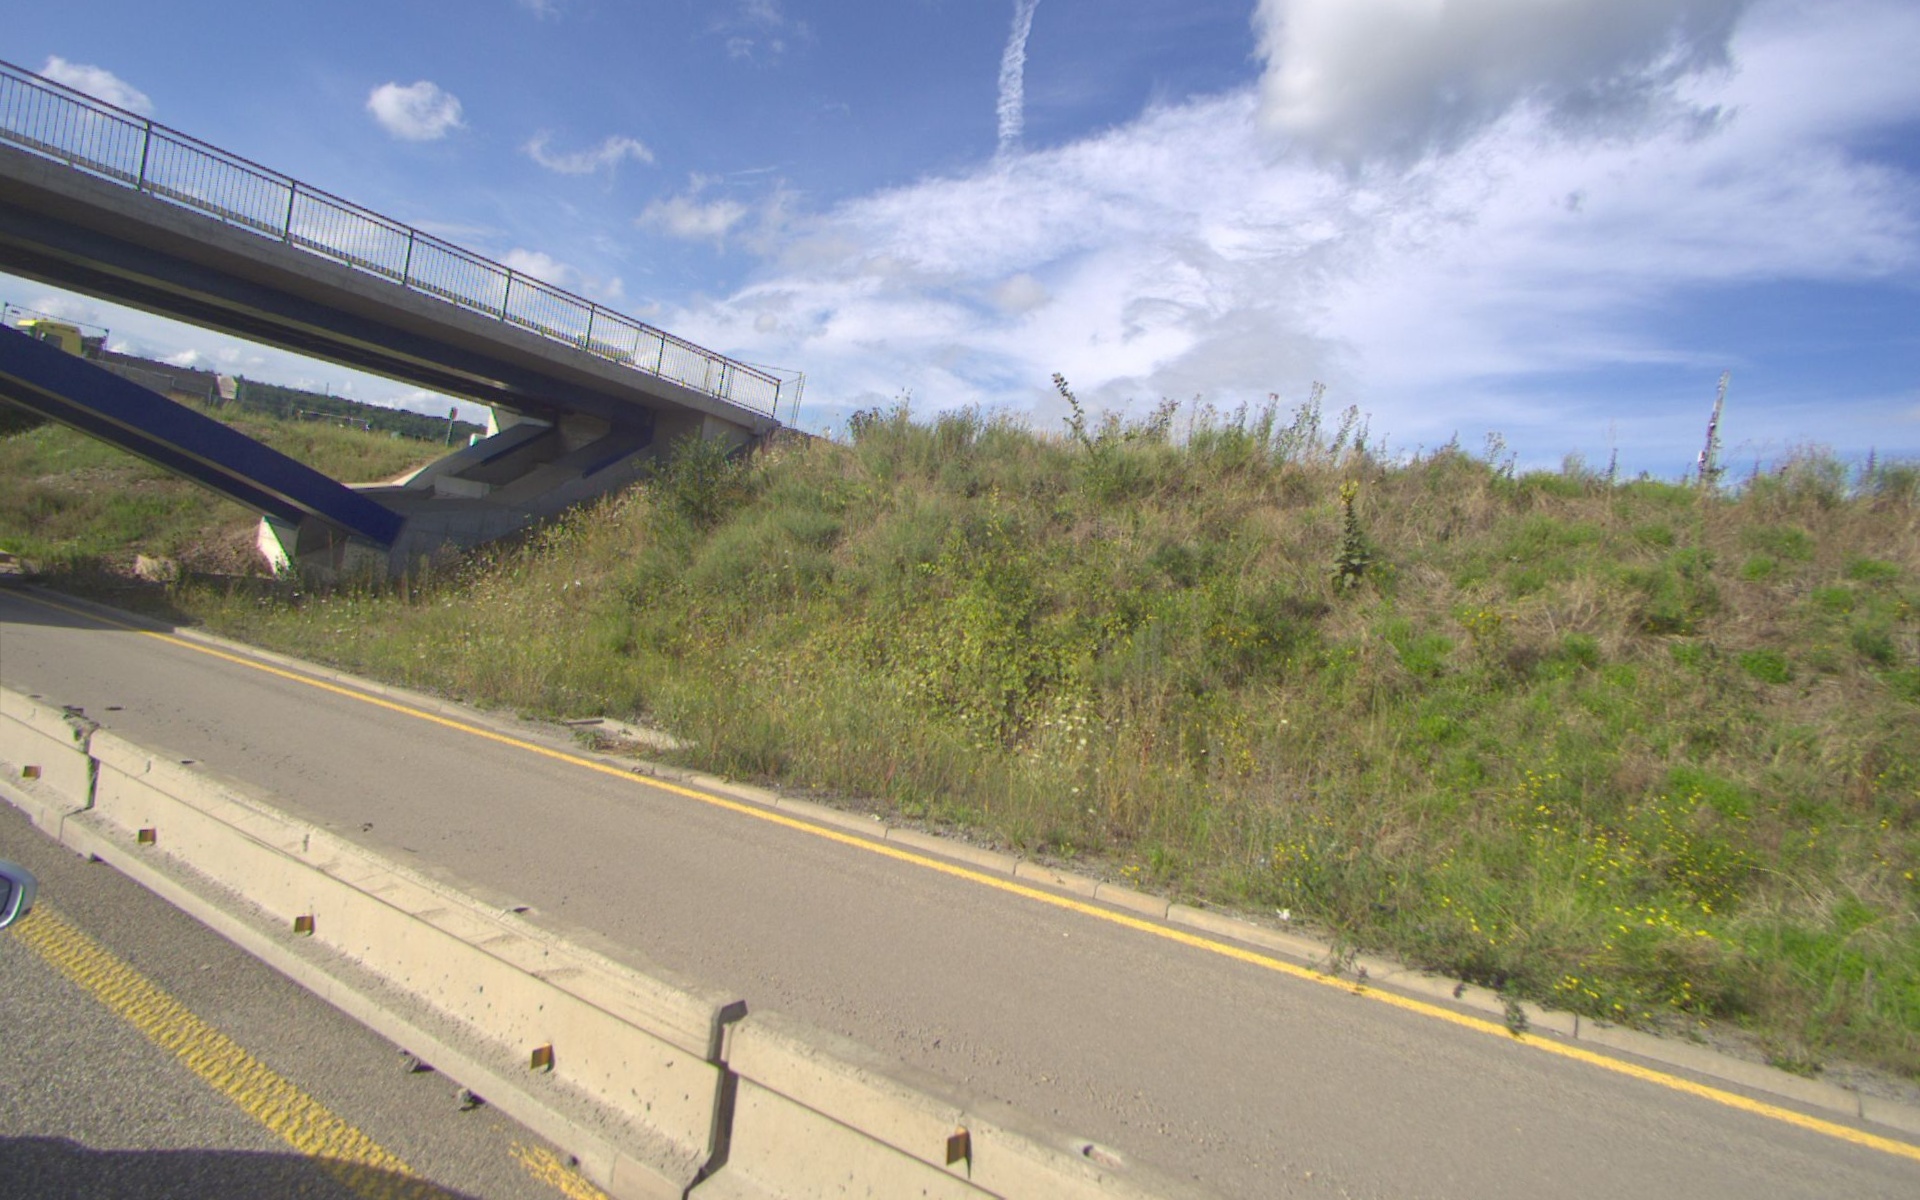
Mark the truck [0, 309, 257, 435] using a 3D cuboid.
[{"bbox_3d":[-39.134,-10.474,47.395,2.911,3.266,9.277,7,-1,32],"label":"truck"}]
